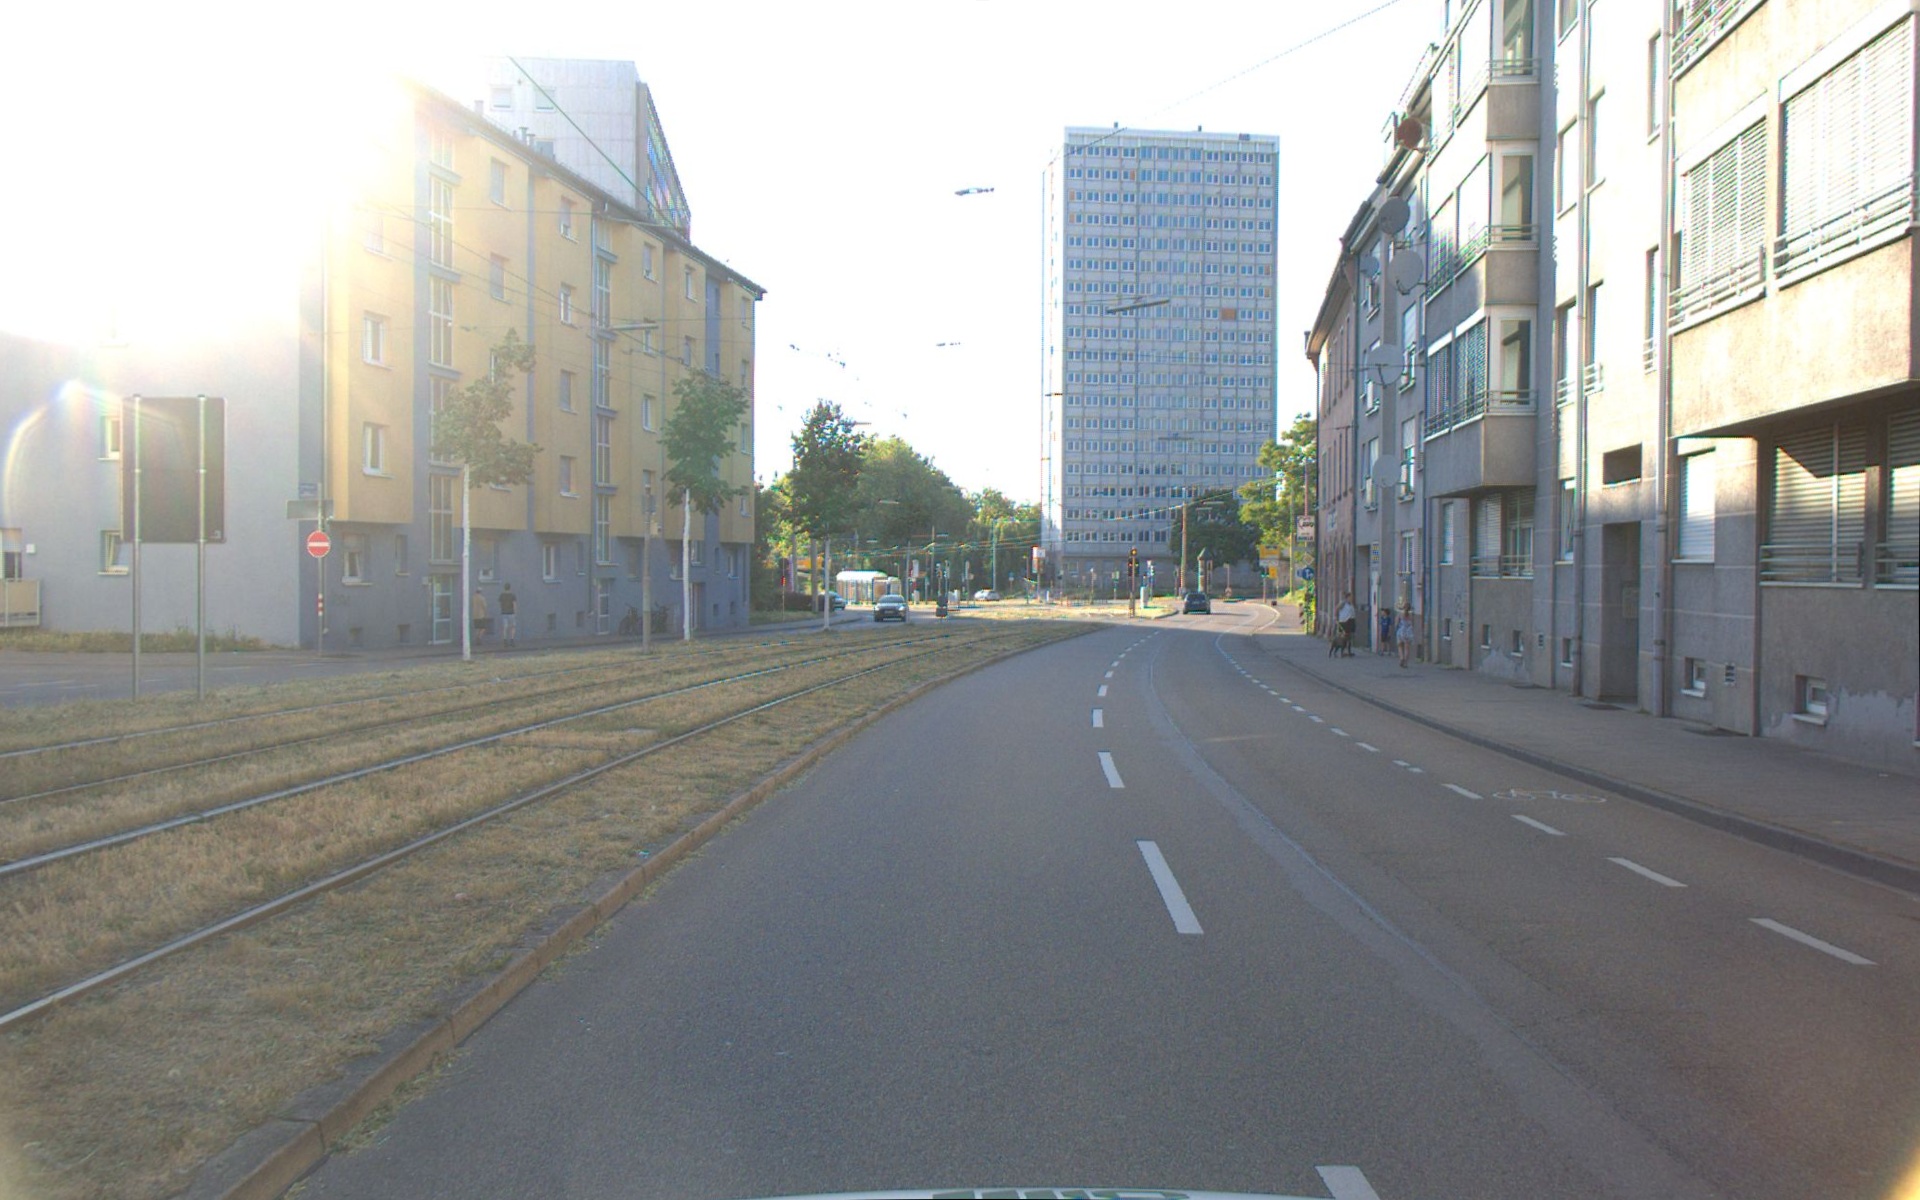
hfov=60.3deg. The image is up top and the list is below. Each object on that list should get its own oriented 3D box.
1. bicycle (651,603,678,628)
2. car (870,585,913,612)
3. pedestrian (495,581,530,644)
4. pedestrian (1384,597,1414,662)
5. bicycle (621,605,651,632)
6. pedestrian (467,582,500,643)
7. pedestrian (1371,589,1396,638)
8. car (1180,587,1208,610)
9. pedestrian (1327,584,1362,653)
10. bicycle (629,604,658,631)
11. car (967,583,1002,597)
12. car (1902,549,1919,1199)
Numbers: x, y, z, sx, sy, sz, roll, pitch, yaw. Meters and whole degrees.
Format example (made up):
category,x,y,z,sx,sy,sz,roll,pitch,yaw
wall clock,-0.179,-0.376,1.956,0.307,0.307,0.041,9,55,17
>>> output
category,x,y,z,sx,sy,sz,roll,pitch,yaw
bicycle,-11.697,0.608,65.488,0.418,0.976,1.913,0,0,9
car,-3.973,-0.092,96.479,1.755,1.494,4.799,-2,0,7
pedestrian,-13.215,0.351,48.835,0.580,1.803,0.886,4,1,7
pedestrian,9.433,0.624,35.526,0.503,1.368,0.609,-1,-1,4
bicycle,-12.110,0.687,61.823,0.418,0.941,1.913,3,1,9
pedestrian,-13.979,0.363,48.534,0.603,1.723,0.707,5,1,7
pedestrian,11.234,0.353,43.882,0.575,1.273,0.585,0,1,8
car,15.617,-0.089,110.379,1.734,1.447,3.860,0,1,9
pedestrian,10.220,0.491,43.989,0.812,1.802,0.997,0,1,8
bicycle,-12.062,0.661,63.103,0.418,0.941,1.913,4,1,9
car,2.783,-1.176,191.040,1.982,1.557,3.941,0,1,-41
car,2.950,0.745,1.570,1.730,1.615,4.067,0,1,-1
